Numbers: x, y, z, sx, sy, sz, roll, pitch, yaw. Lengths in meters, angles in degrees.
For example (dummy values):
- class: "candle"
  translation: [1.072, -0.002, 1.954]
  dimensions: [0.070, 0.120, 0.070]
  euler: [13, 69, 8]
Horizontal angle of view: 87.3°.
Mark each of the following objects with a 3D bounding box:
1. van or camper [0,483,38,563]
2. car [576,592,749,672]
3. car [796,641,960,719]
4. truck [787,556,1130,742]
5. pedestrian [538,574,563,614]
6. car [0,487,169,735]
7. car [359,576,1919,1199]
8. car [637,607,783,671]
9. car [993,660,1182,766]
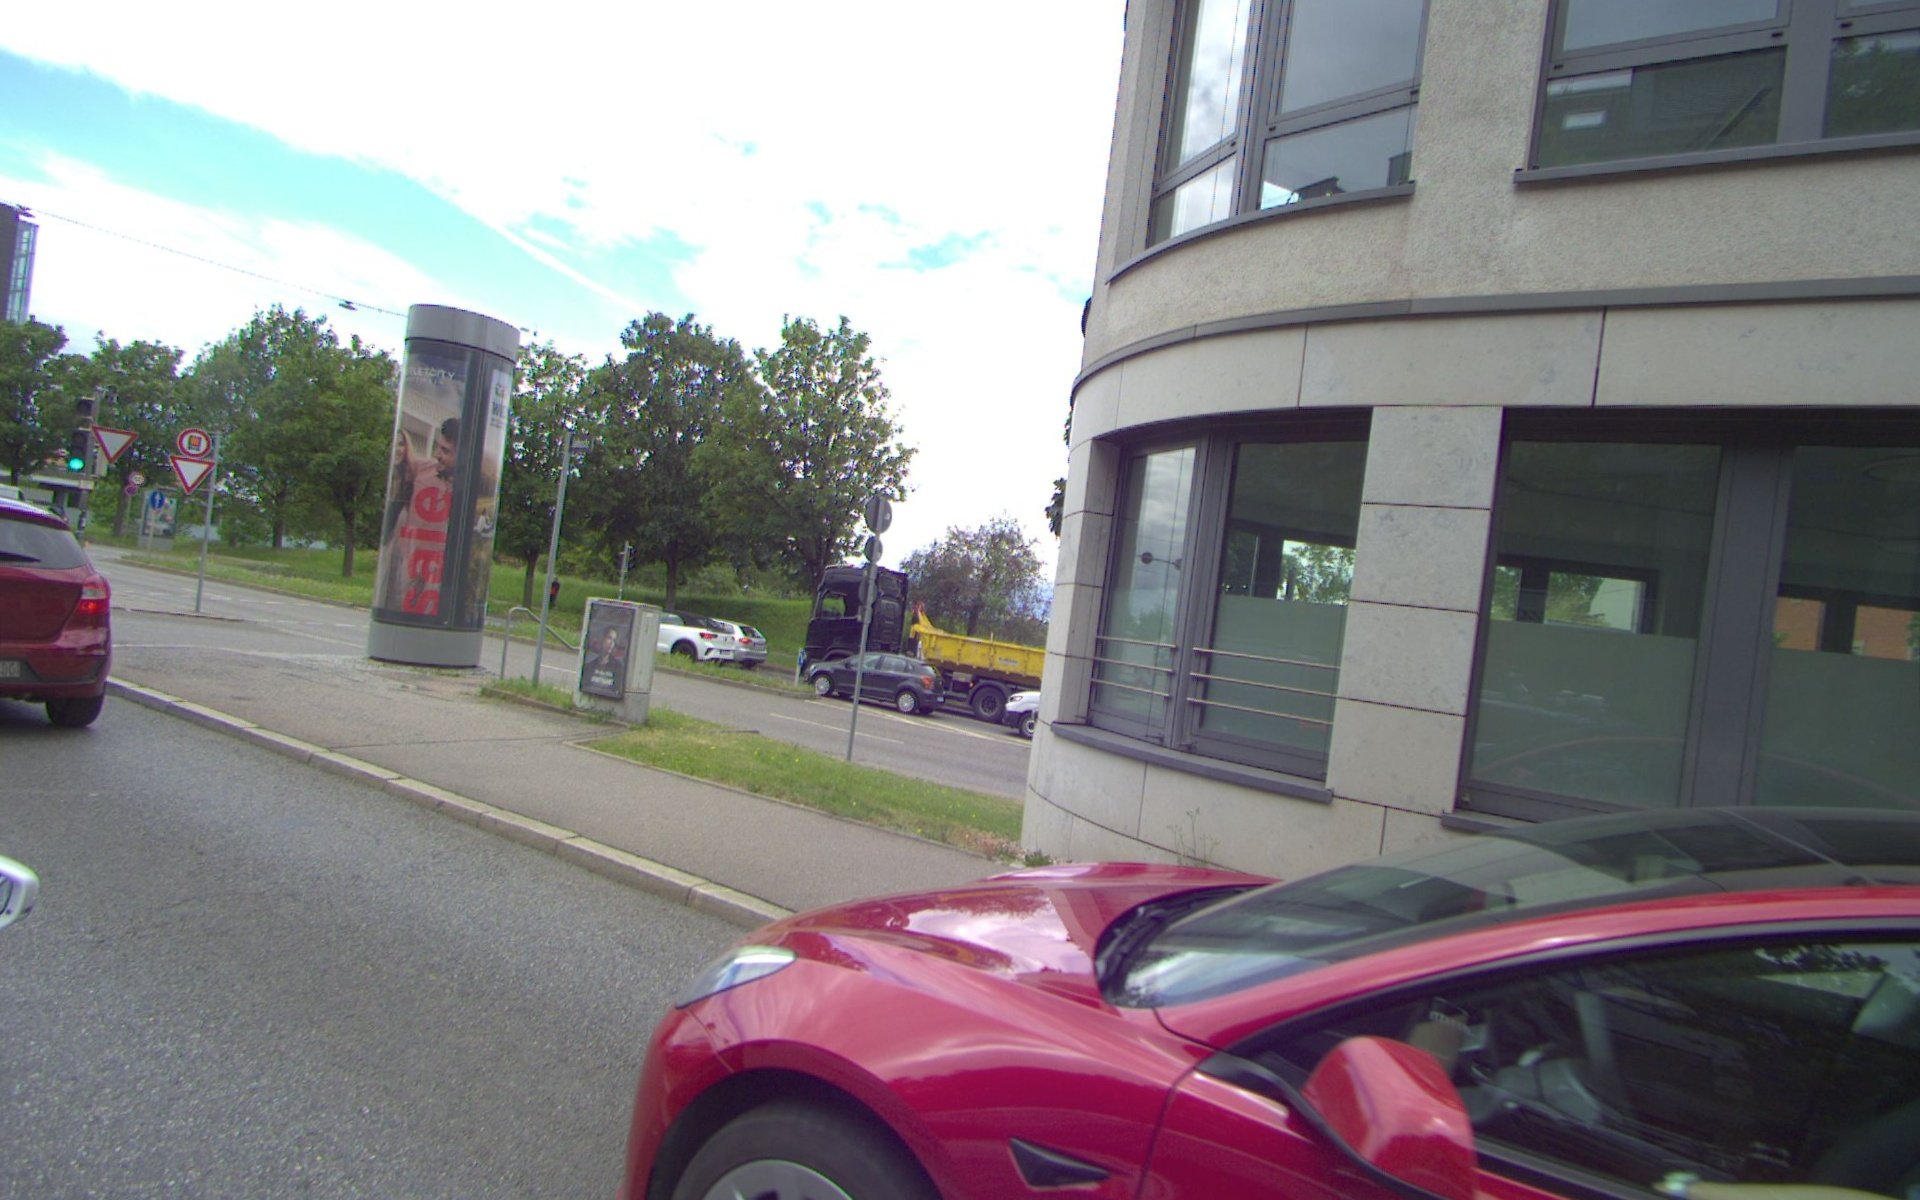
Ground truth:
- class: "van or camper"
  translation: [-24.610, -2.055, 24.694]
  dimensions: [1.982, 1.940, 4.370]
  euler: [9, -1, -33]
- class: "car"
  translation: [-8.663, 0.939, 29.336]
  dimensions: [4.404, 1.547, 1.858]
  euler: [9, -2, 19]
- class: "car"
  translation: [-2.173, 2.119, 26.869]
  dimensions: [3.903, 1.389, 1.656]
  euler: [8, -2, 19]
- class: "truck"
  translation: [-0.046, 1.365, 29.720]
  dimensions: [9.280, 3.969, 2.832]
  euler: [8, -2, 18]
- class: "pedestrian"
  translation: [-17.402, -0.251, 42.747]
  dimensions: [0.690, 1.626, 0.541]
  euler: [9, 5, 29]
- class: "car"
  translation: [-7.389, -0.123, 6.975]
  dimensions: [3.657, 1.498, 1.748]
  euler: [7, -2, 32]
- class: "car"
  translation: [1.215, 0.998, 1.696]
  dimensions: [4.367, 1.434, 1.878]
  euler: [7, -2, 30]
- class: "car"
  translation: [-8.156, 1.290, 32.937]
  dimensions: [4.081, 1.458, 1.992]
  euler: [8, -2, 19]
- class: "car"
  translation: [3.182, 2.754, 24.952]
  dimensions: [4.206, 1.817, 1.758]
  euler: [9, -2, 17]
